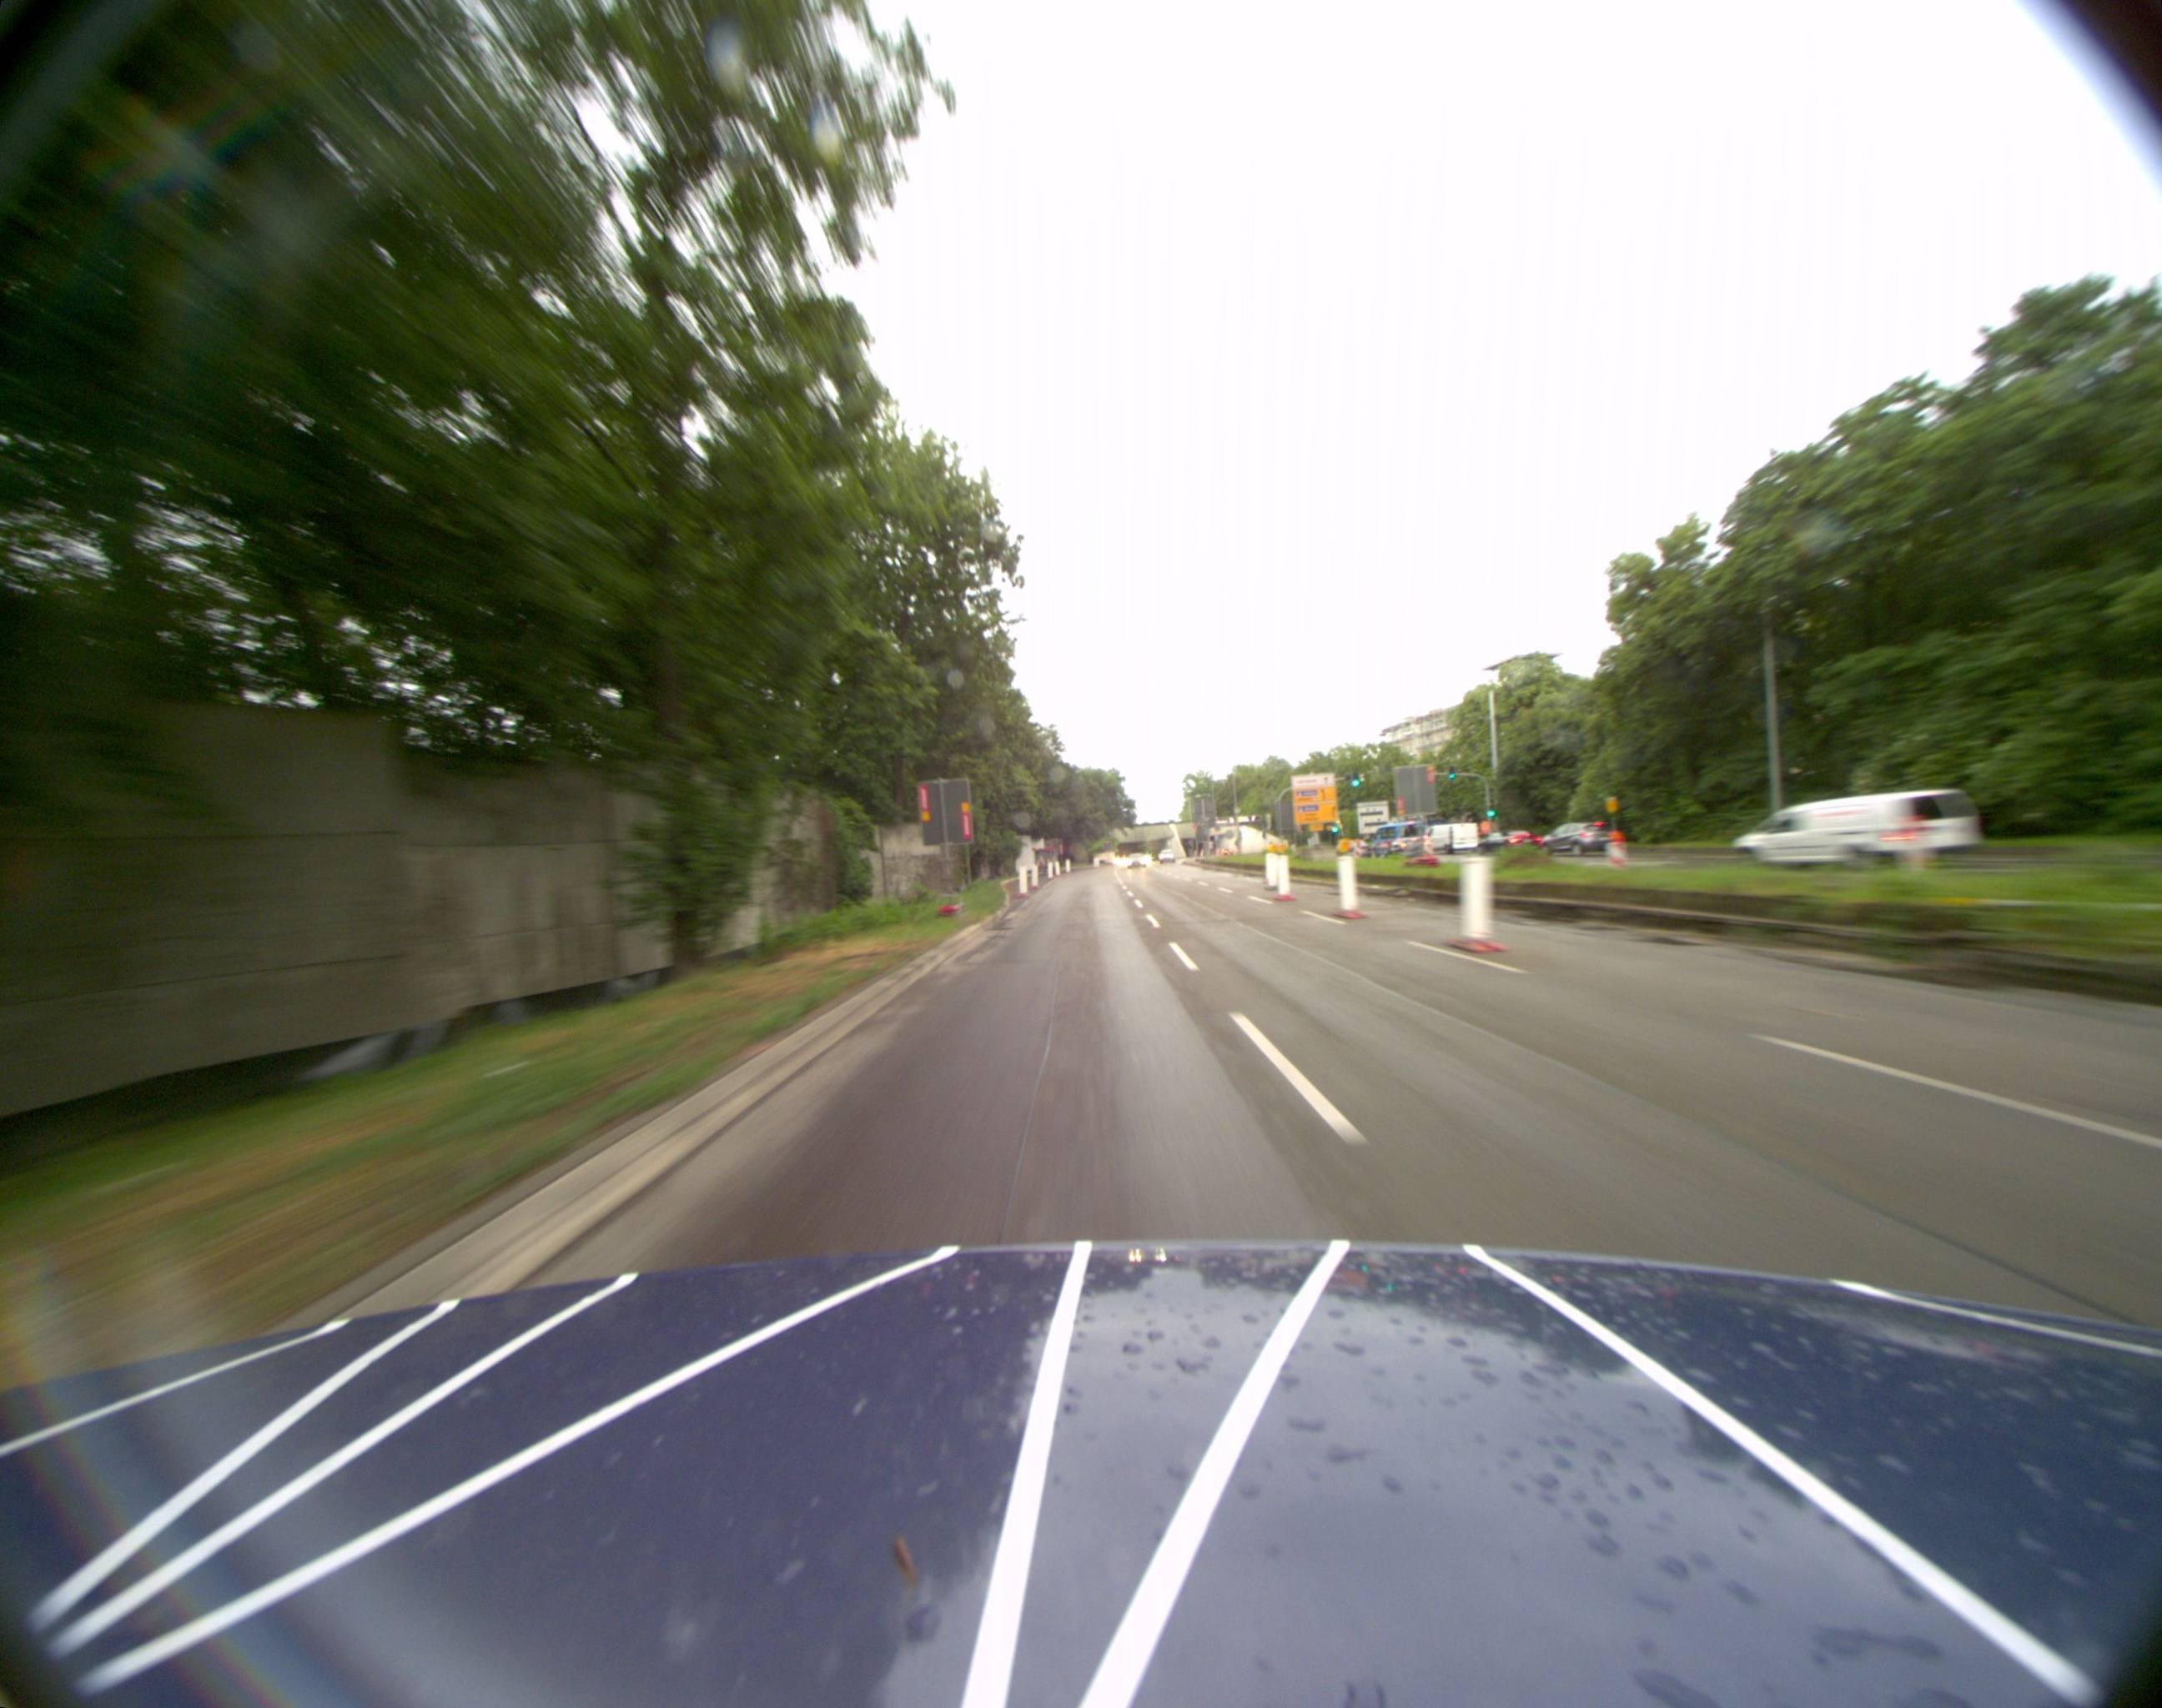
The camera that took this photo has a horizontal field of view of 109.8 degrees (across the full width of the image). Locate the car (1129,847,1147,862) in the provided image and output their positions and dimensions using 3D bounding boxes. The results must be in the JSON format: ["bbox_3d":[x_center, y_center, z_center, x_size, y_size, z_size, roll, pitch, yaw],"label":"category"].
[{"bbox_3d":[5.835,0.031,77.790,1.697,1.393,3.825,-4,1,4],"label":"car"}]

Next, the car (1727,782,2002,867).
[{"bbox_3d":[19.492,-0.646,19.335,1.919,1.771,4.833,-4,0,0],"label":"car"}]

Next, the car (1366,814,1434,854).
[{"bbox_3d":[21.763,-1.295,52.155,2.200,2.376,6.246,-5,0,4],"label":"car"}]

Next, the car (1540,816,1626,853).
[{"bbox_3d":[23.483,-0.892,35.720,1.675,1.514,3.790,-5,1,4],"label":"car"}]

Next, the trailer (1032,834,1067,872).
[{"bbox_3d":[-3.128,-0.143,76.885,2.312,3.568,5.962,-3,1,8],"label":"trailer"}]

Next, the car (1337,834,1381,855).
[{"bbox_3d":[18.774,-0.661,51.474,1.552,1.193,4.647,-5,1,5],"label":"car"}]

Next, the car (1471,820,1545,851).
[{"bbox_3d":[23.908,-1.028,42.751,1.797,1.514,4.635,-5,1,4],"label":"car"}]

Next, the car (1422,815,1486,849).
[{"bbox_3d":[24.986,-1.425,51.117,2.039,1.962,4.992,-5,0,4],"label":"car"}]

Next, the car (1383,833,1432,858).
[{"bbox_3d":[17.855,-0.478,41.663,1.433,1.193,3.300,-5,1,4],"label":"car"}]

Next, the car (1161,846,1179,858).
[{"bbox_3d":[10.732,-0.291,91.656,1.697,1.300,3.825,-4,1,1],"label":"car"}]
